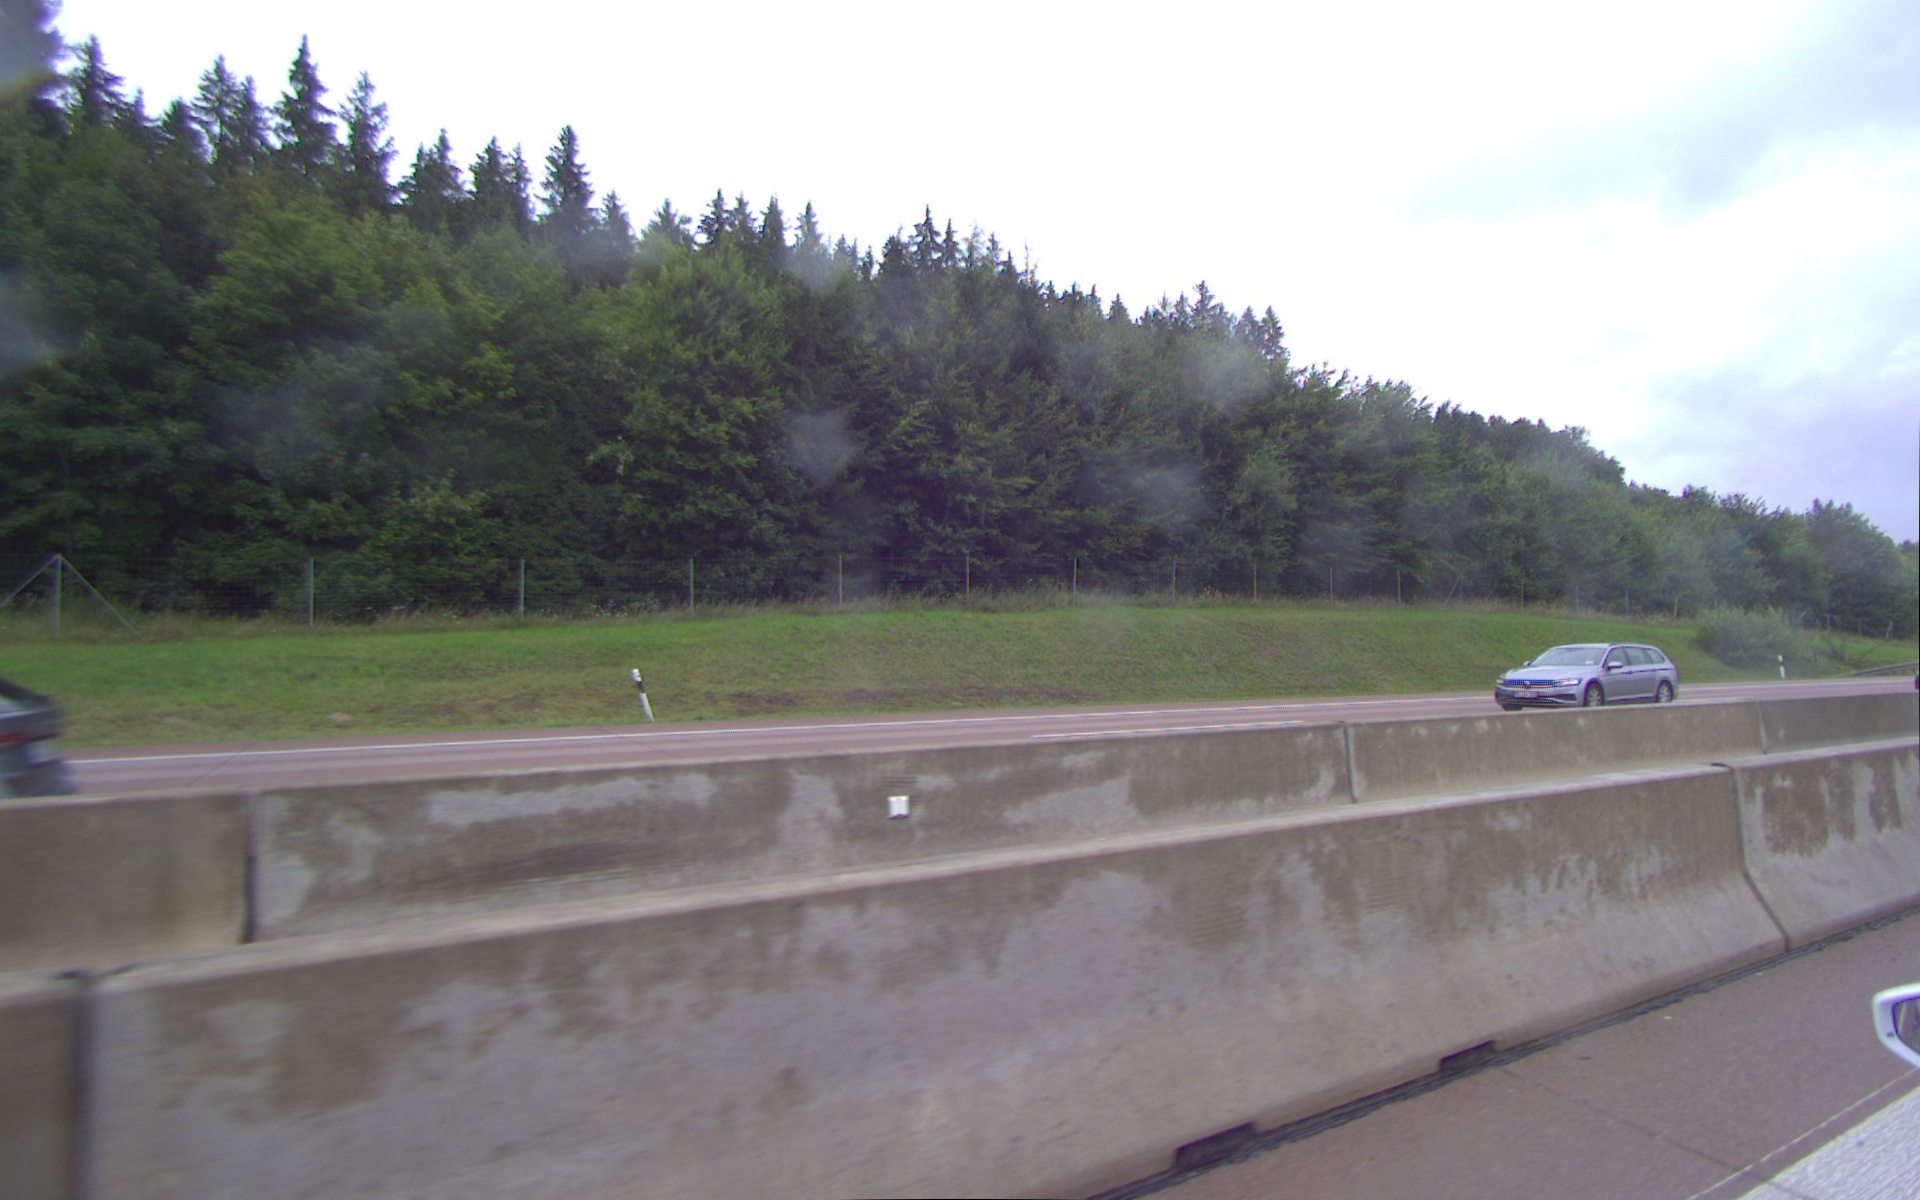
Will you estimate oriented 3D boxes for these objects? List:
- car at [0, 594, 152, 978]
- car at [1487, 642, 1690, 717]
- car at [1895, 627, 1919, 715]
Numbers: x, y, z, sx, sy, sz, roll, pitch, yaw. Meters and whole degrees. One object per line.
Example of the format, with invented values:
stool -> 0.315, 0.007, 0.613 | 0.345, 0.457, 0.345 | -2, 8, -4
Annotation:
car -> -7.249, 0.737, 3.928 | 6.095, 1.729, 1.848 | 3, -1, -31
car -> 13.253, 1.613, 21.103 | 4.756, 1.407, 1.641 | 1, -4, -31
car -> 24.863, 1.775, 24.219 | 5.464, 2.040, 1.983 | 3, -1, -32
